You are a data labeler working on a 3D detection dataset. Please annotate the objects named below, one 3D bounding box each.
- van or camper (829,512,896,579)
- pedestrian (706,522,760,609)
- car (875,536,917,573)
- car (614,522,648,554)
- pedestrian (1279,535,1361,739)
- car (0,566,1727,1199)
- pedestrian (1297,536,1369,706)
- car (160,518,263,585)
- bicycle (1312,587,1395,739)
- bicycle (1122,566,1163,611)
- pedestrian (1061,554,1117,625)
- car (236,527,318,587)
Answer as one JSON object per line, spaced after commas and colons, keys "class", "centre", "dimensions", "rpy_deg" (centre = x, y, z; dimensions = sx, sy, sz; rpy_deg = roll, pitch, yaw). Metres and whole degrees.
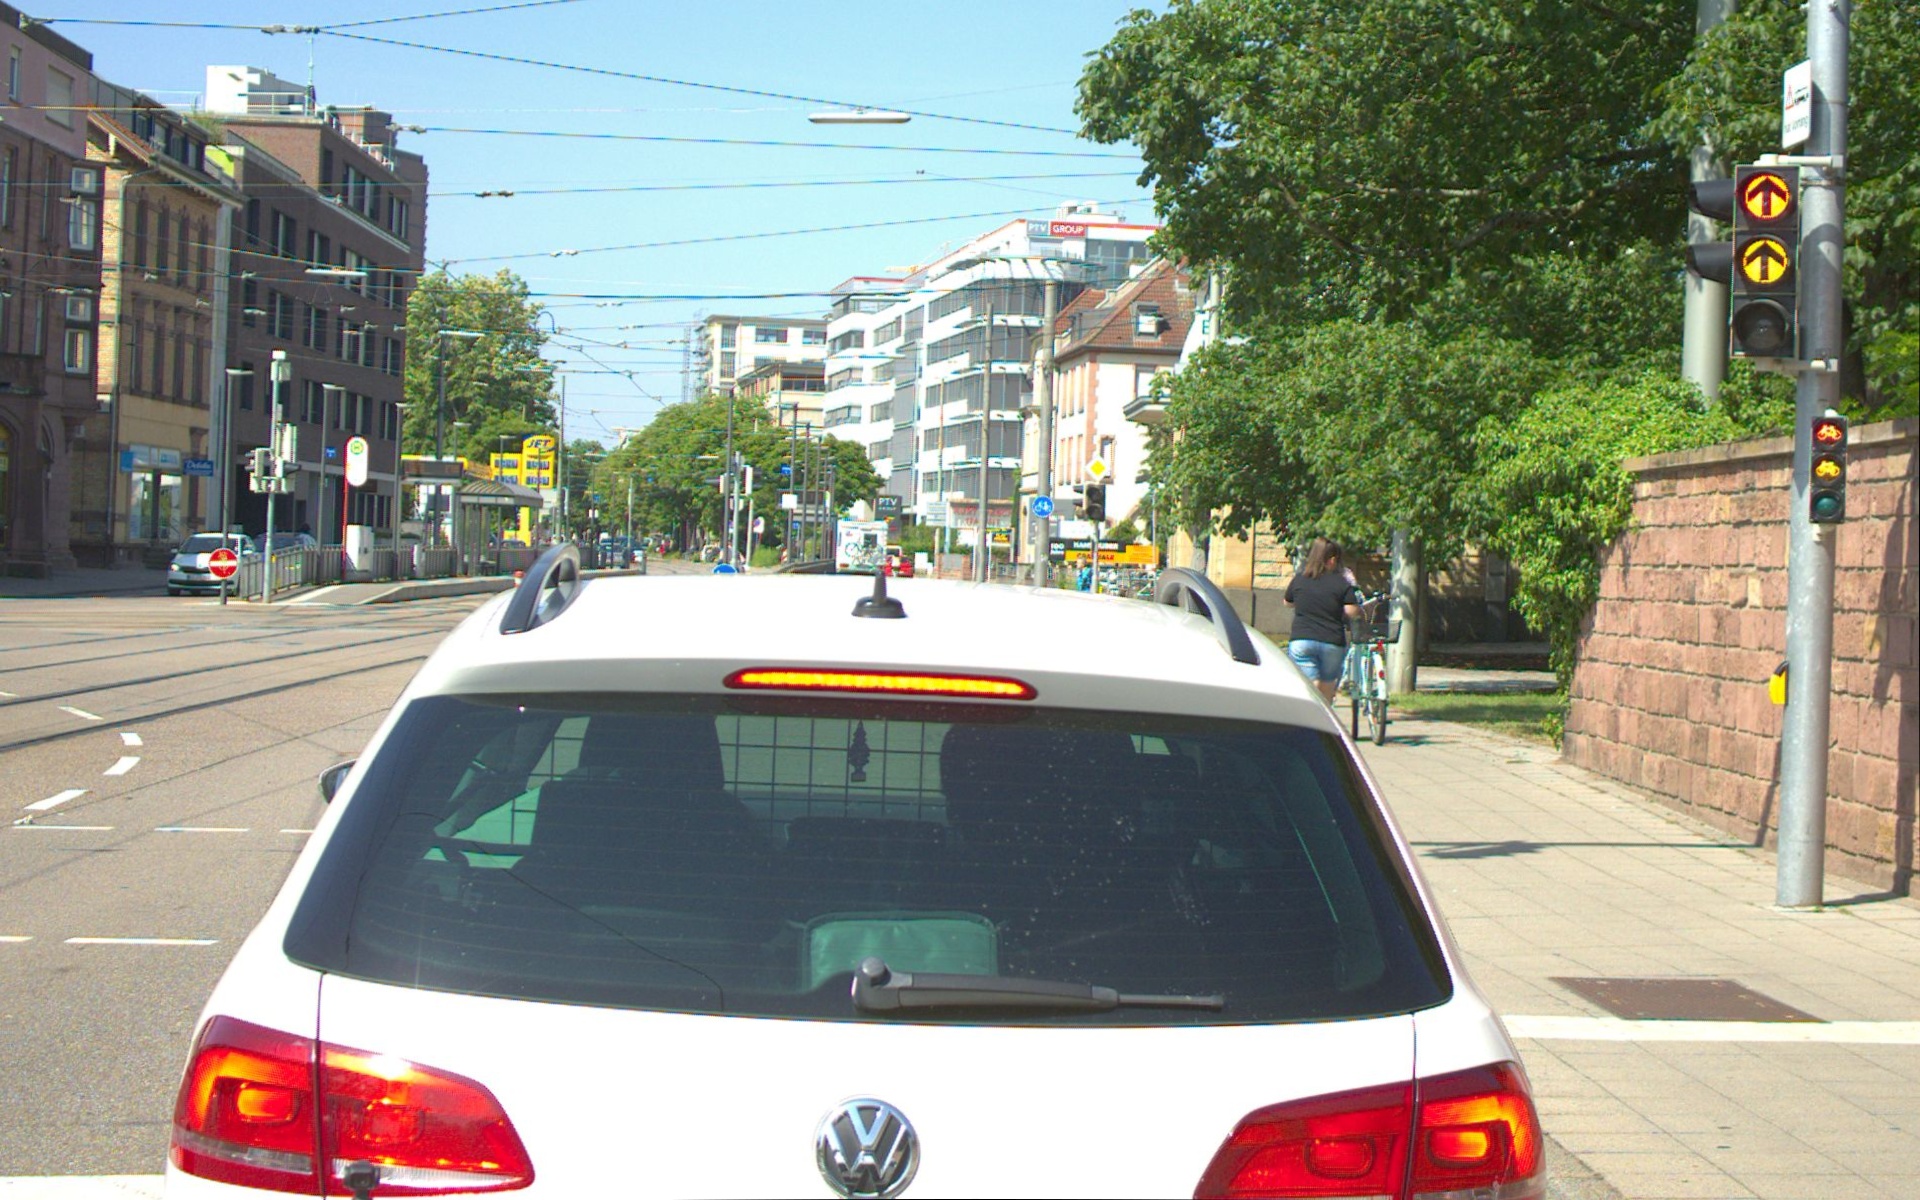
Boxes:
{"class": "van or camper", "centre": [-4.839, -2.701, 169.713], "dimensions": [2.943, 3.169, 6.614], "rpy_deg": [2, 1, -4]}
{"class": "pedestrian", "centre": [-4.810, -0.730, 72.887], "dimensions": [0.826, 1.803, 0.833], "rpy_deg": [2, 1, -27]}
{"class": "car", "centre": [-3.594, -2.566, 192.415], "dimensions": [1.993, 2.007, 4.001], "rpy_deg": [2, 1, -5]}
{"class": "car", "centre": [-21.318, -3.986, 223.023], "dimensions": [1.993, 2.007, 4.000], "rpy_deg": [1, 1, -2]}
{"class": "pedestrian", "centre": [2.754, 0.272, 26.318], "dimensions": [0.540, 1.543, 0.663], "rpy_deg": [0, 1, -1]}
{"class": "car", "centre": [-0.151, 0.695, 5.375], "dimensions": [1.752, 1.413, 3.853], "rpy_deg": [2, 1, -1]}
{"class": "pedestrian", "centre": [3.750, 0.205, 34.610], "dimensions": [0.650, 1.676, 0.707], "rpy_deg": [2, 1, 6]}
{"class": "car", "centre": [-17.466, -1.133, 80.366], "dimensions": [1.625, 1.426, 3.963], "rpy_deg": [3, 1, -2]}
{"class": "bicycle", "centre": [3.006, 0.461, 26.184], "dimensions": [0.536, 1.107, 1.806], "rpy_deg": [1, 0, 9]}
{"class": "bicycle", "centre": [4.802, -0.304, 90.290], "dimensions": [0.726, 1.135, 2.193], "rpy_deg": [2, 1, 12]}
{"class": "pedestrian", "centre": [2.781, -0.225, 74.247], "dimensions": [0.858, 1.505, 0.780], "rpy_deg": [3, 1, 38]}
{"class": "car", "centre": [-17.475, -1.101, 88.121], "dimensions": [1.572, 1.454, 3.815], "rpy_deg": [2, 1, -4]}
